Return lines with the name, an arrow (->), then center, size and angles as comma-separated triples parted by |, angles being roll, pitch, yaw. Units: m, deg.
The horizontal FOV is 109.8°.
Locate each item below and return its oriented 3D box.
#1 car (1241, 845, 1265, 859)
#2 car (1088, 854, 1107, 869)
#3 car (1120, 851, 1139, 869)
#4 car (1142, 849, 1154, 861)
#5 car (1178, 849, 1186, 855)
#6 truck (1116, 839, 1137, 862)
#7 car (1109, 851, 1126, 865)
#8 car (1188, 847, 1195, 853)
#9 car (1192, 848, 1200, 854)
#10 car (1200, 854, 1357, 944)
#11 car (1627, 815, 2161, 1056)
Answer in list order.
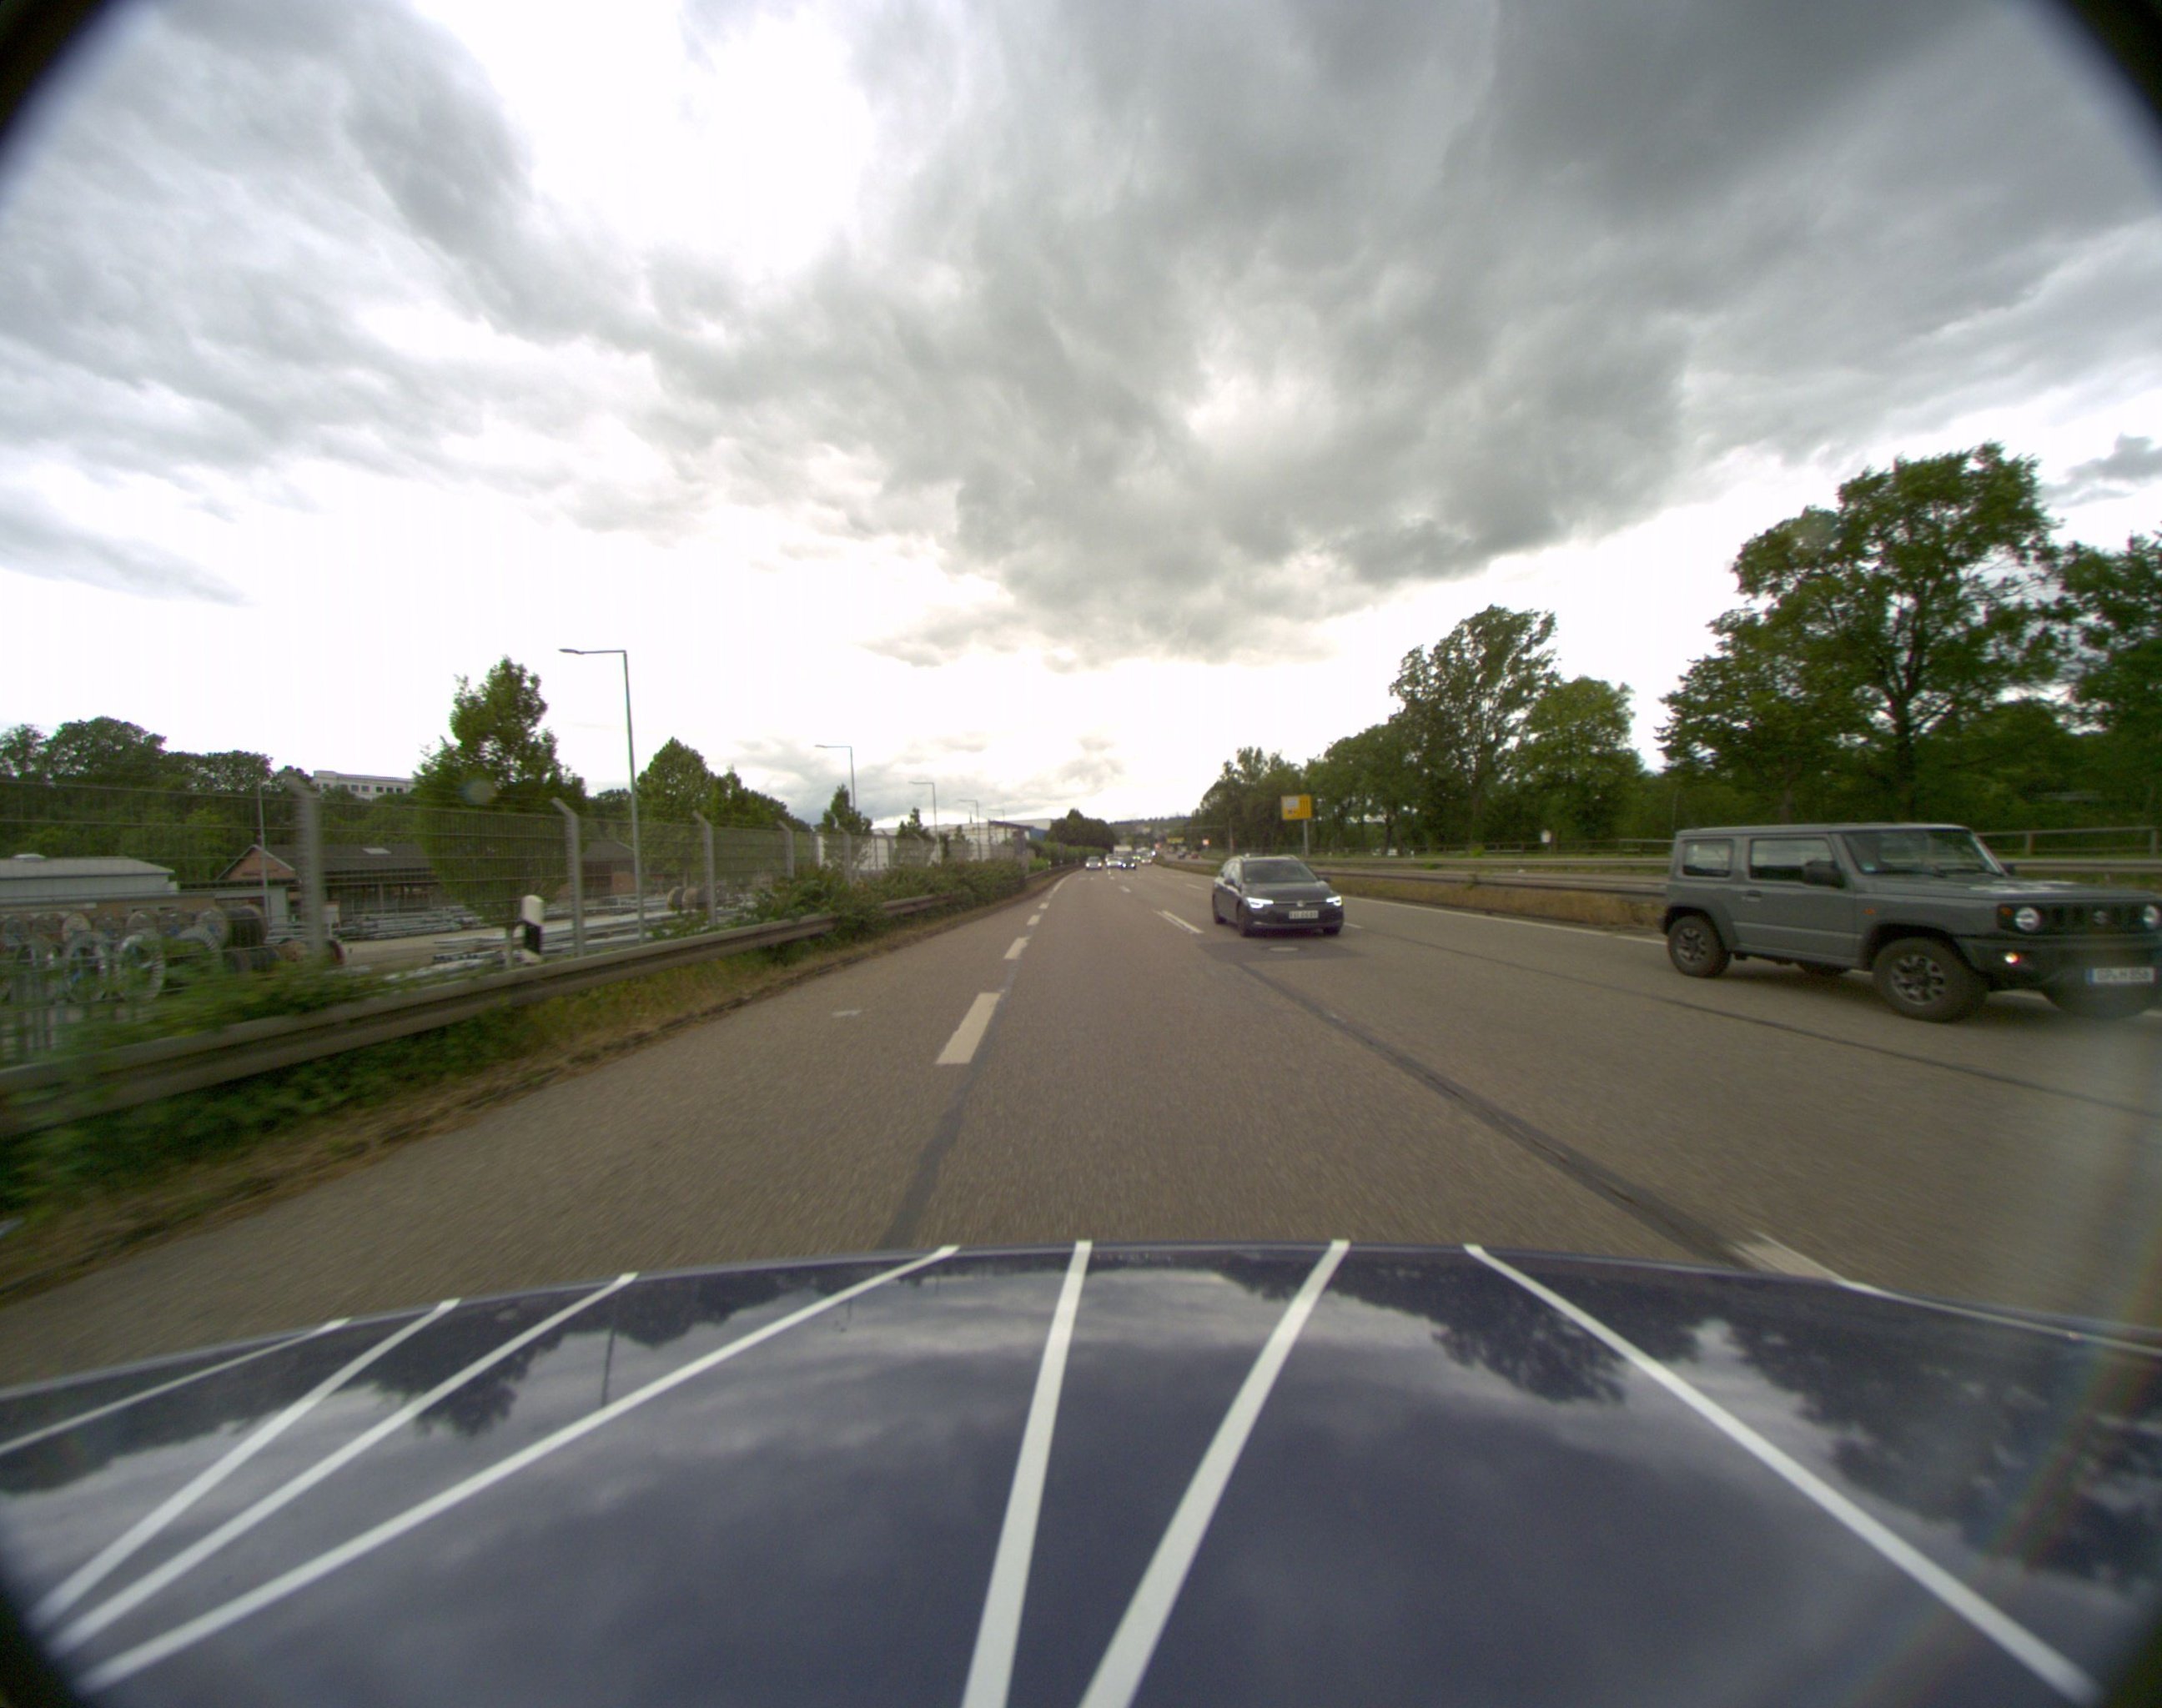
car -> 17.307, -0.201, 76.498 | 1.618, 1.377, 3.733 | -3, 0, 2
car -> 1.981, 0.878, 88.720 | 1.883, 1.530, 4.148 | -3, 0, 5
car -> 5.356, 0.654, 82.714 | 1.883, 1.714, 4.148 | -3, 0, 5
car -> 10.881, 0.138, 123.529 | 1.883, 1.714, 4.148 | -3, 0, 5
car -> 27.173, -0.564, 204.407 | 1.664, 1.415, 3.912 | -2, 0, 3
truck -> 6.945, -0.463, 115.137 | 2.656, 3.120, 12.514 | -3, -1, 5
car -> 4.633, 0.508, 96.667 | 1.883, 1.714, 4.148 | -3, 0, 5
car -> 32.464, -1.137, 222.812 | 1.614, 1.872, 4.562 | -2, 0, 3
car -> 31.533, -0.792, 207.831 | 1.721, 1.456, 4.381 | -2, 0, 3
car -> 3.707, 0.760, 15.232 | 1.849, 1.415, 4.900 | -3, 0, 1
car -> 7.542, 0.569, 7.311 | 1.702, 1.676, 4.000 | -1, 0, 0
